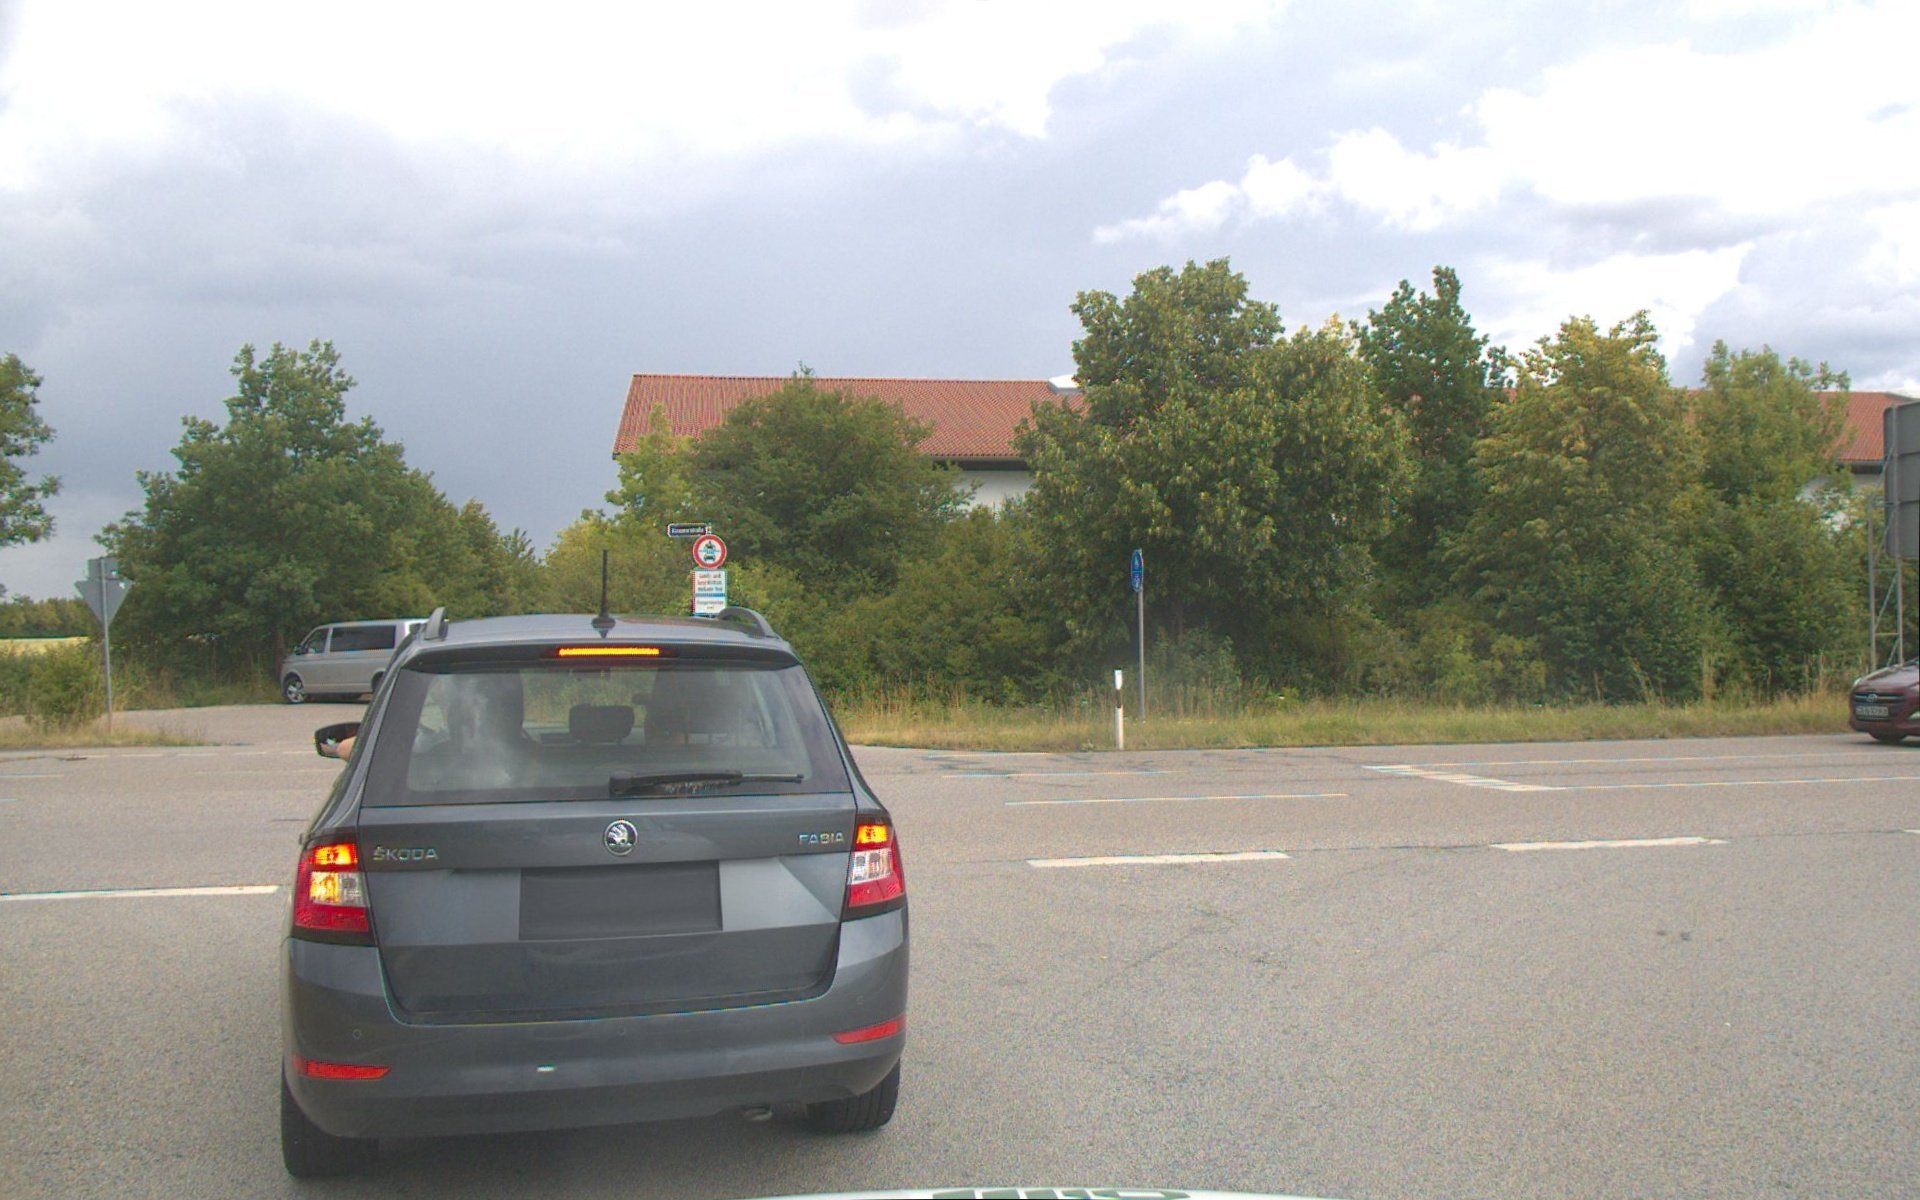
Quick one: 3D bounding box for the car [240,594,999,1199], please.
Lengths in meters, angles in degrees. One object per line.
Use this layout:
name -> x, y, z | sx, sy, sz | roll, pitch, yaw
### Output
car -> -1.211, 0.751, 5.432 | 1.649, 1.488, 3.690 | 0, -1, -16

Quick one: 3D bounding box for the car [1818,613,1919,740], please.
car -> 13.186, 0.881, 20.595 | 4.073, 1.490, 1.995 | -1, -1, -11

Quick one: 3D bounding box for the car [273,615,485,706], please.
car -> -14.229, 1.445, 40.481 | 4.807, 2.049, 2.338 | -1, 1, 30

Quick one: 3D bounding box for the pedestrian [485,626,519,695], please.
pedestrian -> -11.582, 1.526, 41.857 | 0.571, 1.712, 0.566 | -1, 0, 17

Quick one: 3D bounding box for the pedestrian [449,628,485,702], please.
pedestrian -> -11.956, 1.577, 40.118 | 0.518, 1.756, 0.640 | -1, 0, 29
